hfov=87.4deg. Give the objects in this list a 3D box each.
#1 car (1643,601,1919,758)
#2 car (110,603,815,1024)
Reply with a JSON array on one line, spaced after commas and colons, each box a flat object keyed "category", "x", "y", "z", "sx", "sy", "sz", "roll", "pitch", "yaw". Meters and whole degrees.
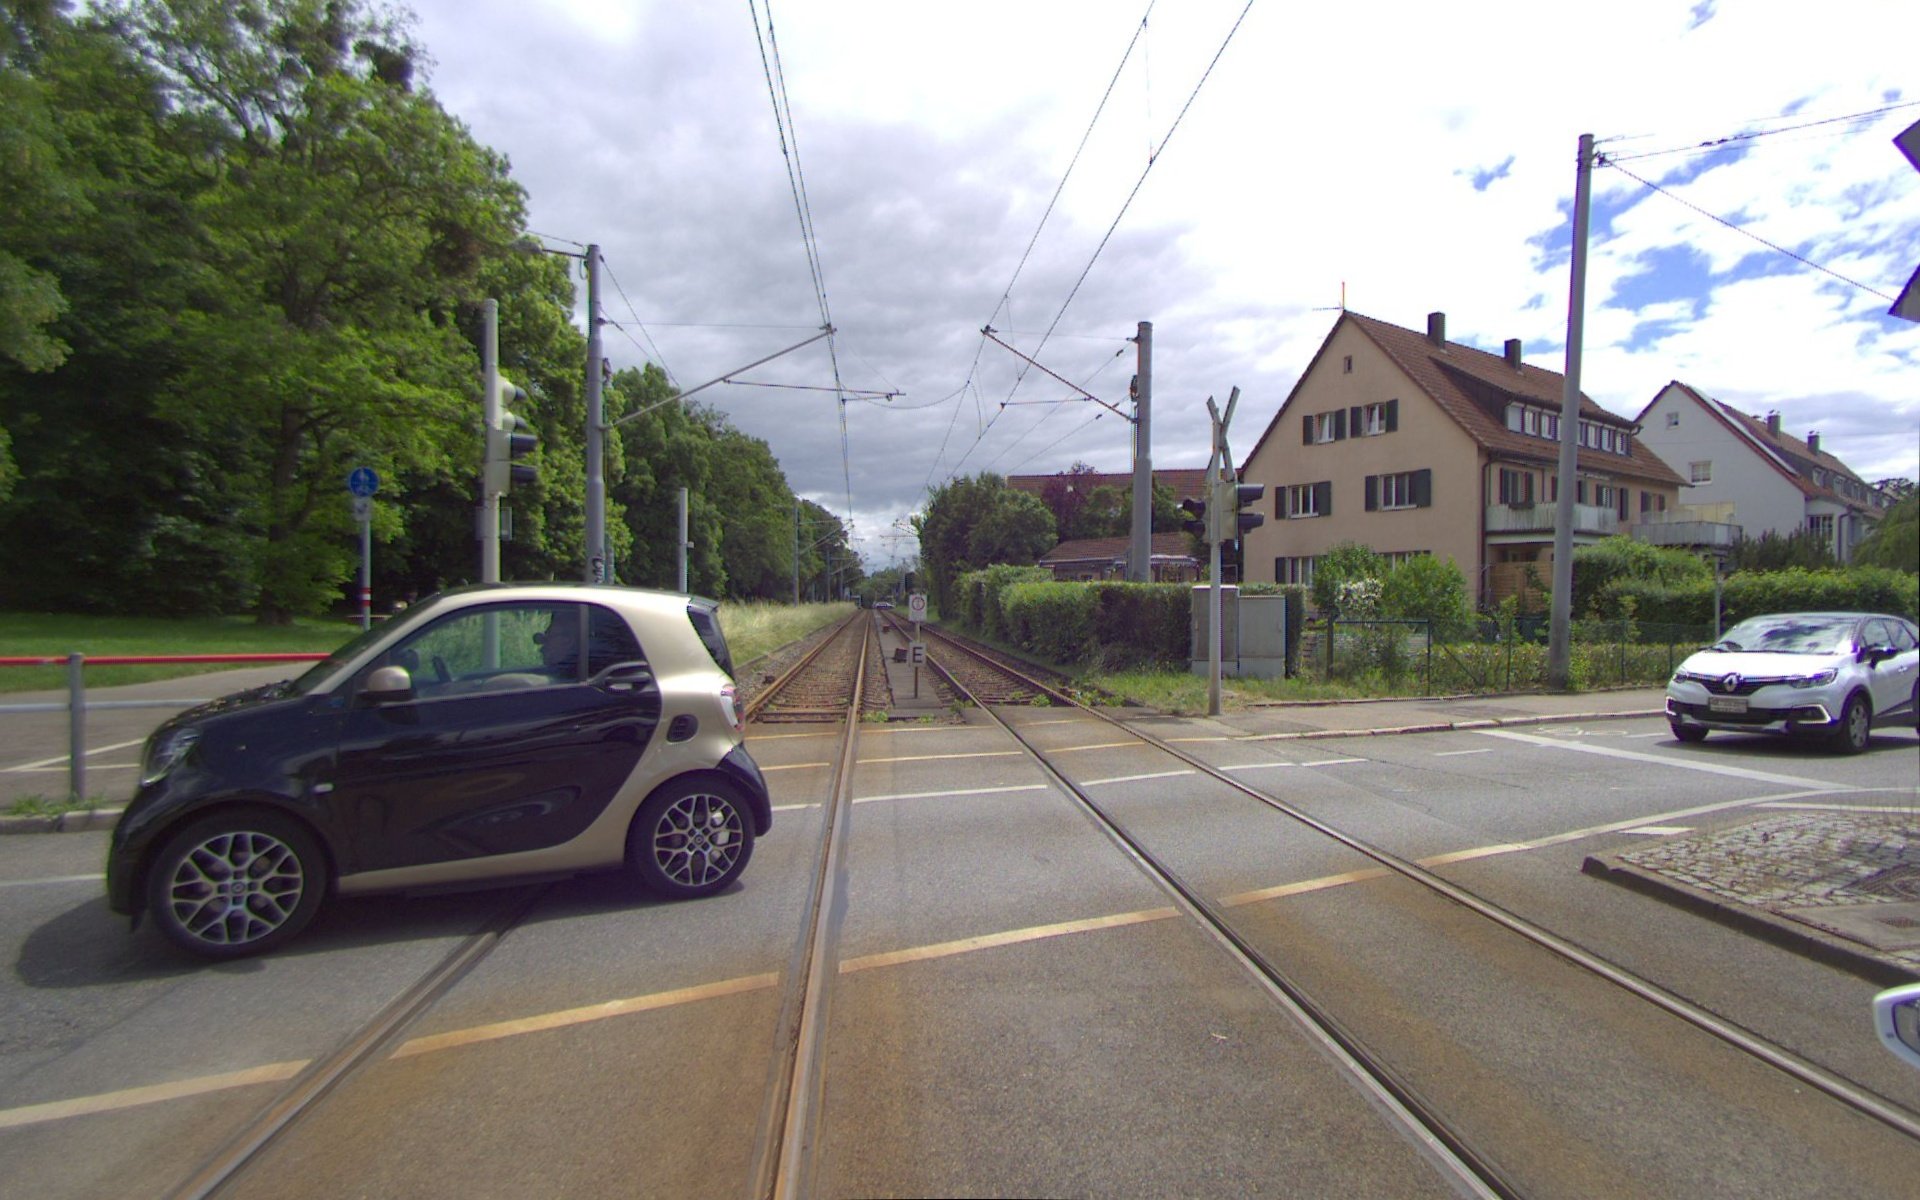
[{"category": "car", "x": 10.247, "y": 0.843, "z": 12.146, "sx": 3.991, "sy": 1.624, "sz": 1.766, "roll": 0, "pitch": -1, "yaw": -31}, {"category": "car", "x": -2.308, "y": 0.794, "z": 5.080, "sx": 2.754, "sy": 1.530, "sz": 1.568, "roll": 0, "pitch": 1, "yaw": -29}]
